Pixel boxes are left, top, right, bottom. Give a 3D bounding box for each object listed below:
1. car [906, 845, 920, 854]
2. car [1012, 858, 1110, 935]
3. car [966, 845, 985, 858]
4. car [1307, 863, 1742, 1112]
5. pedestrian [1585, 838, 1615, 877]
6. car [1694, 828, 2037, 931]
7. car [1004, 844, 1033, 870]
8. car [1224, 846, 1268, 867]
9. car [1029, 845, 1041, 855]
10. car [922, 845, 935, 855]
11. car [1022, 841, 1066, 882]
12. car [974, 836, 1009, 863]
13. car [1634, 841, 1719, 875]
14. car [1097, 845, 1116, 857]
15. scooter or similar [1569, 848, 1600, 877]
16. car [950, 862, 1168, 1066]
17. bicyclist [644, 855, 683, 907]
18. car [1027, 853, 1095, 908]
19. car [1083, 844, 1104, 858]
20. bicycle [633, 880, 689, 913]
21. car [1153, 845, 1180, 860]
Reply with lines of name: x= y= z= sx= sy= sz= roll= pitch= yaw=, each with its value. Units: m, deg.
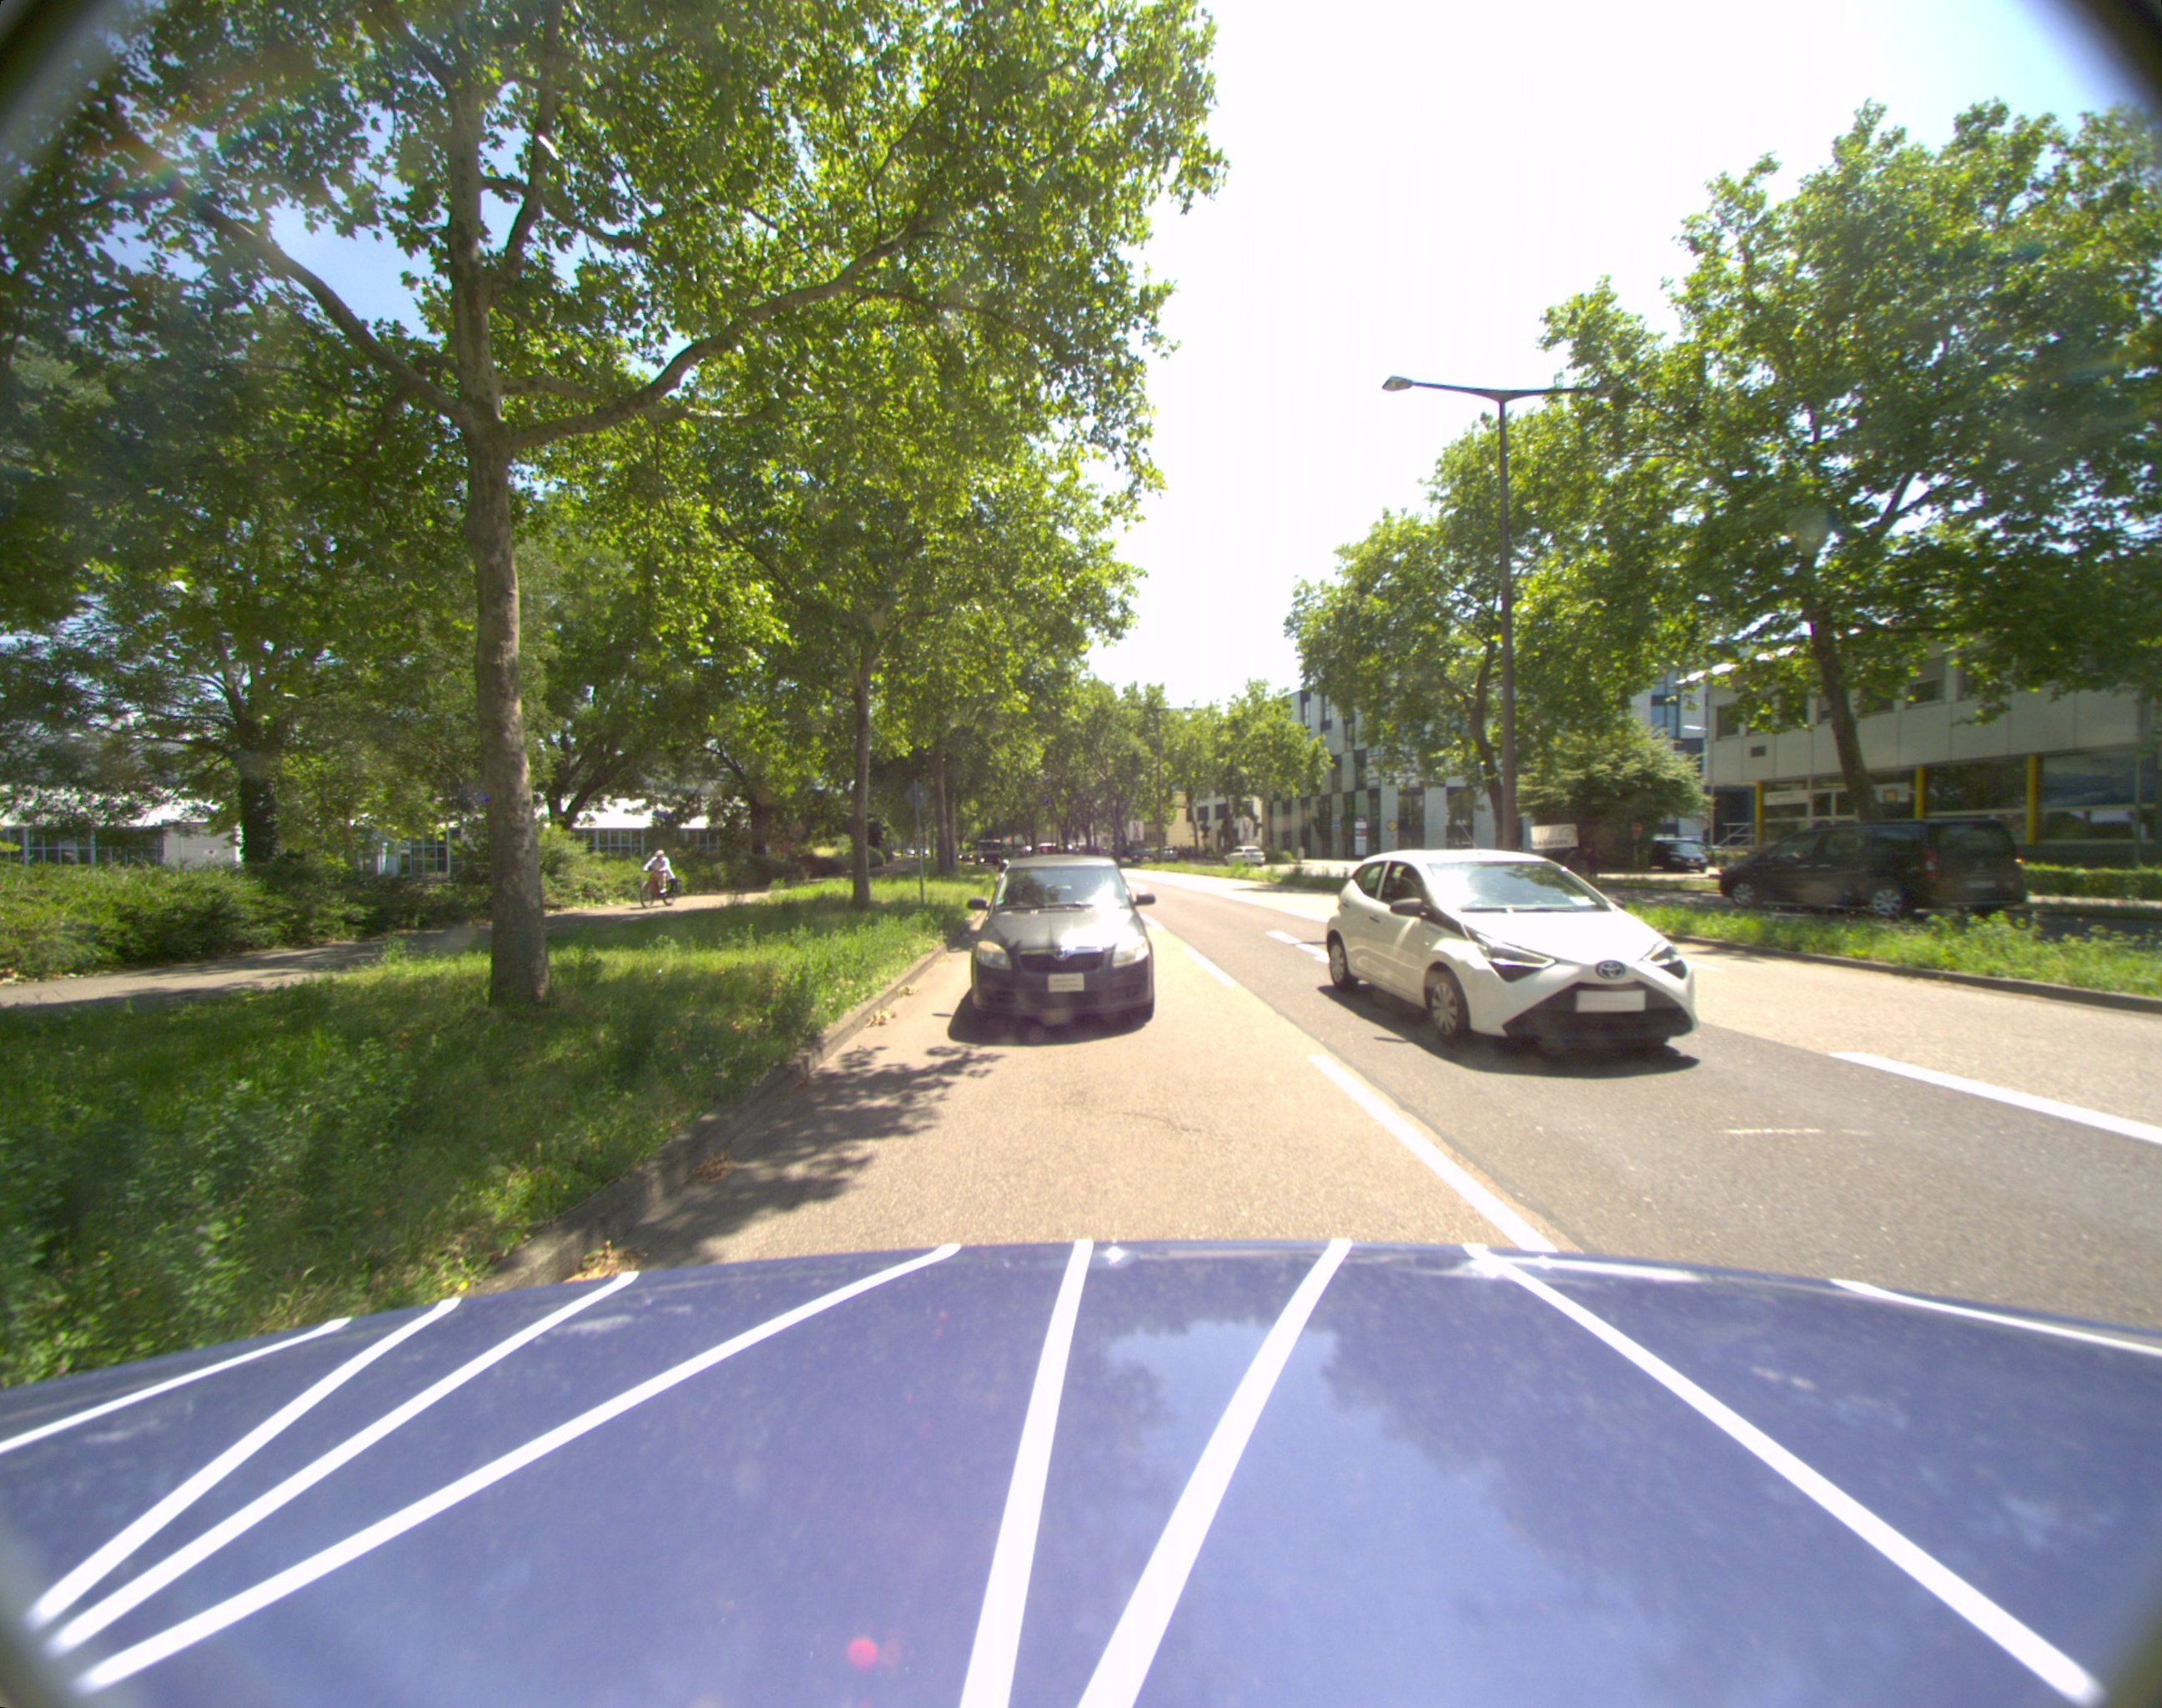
car: x=-35.661 y=-0.917 z=161.422 sx=2.003 sy=1.827 sz=3.991 roll=-1 pitch=1 yaw=-26
car: x=-0.413 y=0.805 z=16.053 sx=1.791 sy=1.325 sz=3.742 roll=-1 pitch=1 yaw=-1
car: x=-14.055 y=-0.352 z=101.112 sx=2.001 sy=1.608 sz=3.994 roll=-1 pitch=1 yaw=-15
car: x=3.375 y=0.871 z=6.661 sx=1.623 sy=1.437 sz=3.651 roll=-2 pitch=1 yaw=-1
pedestrian: x=21.027 y=0.140 z=30.798 sx=0.644 sy=1.551 sz=0.790 roll=0 pitch=1 yaw=-7
car: x=14.776 y=0.400 z=14.779 sx=1.917 sy=1.669 sz=4.441 roll=-1 pitch=1 yaw=-5
car: x=-4.468 y=0.202 z=54.682 sx=1.999 sy=1.783 sz=3.998 roll=0 pitch=1 yaw=-3
car: x=11.770 y=0.161 z=54.595 sx=1.859 sy=1.410 sz=4.545 roll=0 pitch=1 yaw=-5
car: x=-7.391 y=-0.690 z=122.087 sx=1.537 sy=1.519 sz=2.852 roll=-1 pitch=1 yaw=-8
car: x=-30.174 y=-0.825 z=149.839 sx=2.002 sy=1.827 sz=3.993 roll=-1 pitch=1 yaw=-19
car: x=-1.831 y=0.354 z=37.073 sx=1.999 sy=1.871 sz=3.998 roll=-1 pitch=1 yaw=-3
car: x=-9.409 y=-0.515 z=79.129 sx=2.921 sy=2.639 sz=6.358 roll=-1 pitch=1 yaw=-13
car: x=31.600 y=0.167 z=40.464 sx=1.820 sy=1.638 sz=3.527 roll=-2 pitch=1 yaw=2
car: x=3.332 y=-0.408 z=100.998 sx=1.757 sy=1.435 sz=3.668 roll=0 pitch=1 yaw=-12
scooter or similar: x=20.931 y=0.345 z=31.619 sx=0.680 sy=1.157 sz=0.858 roll=0 pitch=1 yaw=-7
car: x=-0.201 y=0.870 z=7.801 sx=1.654 sy=1.454 sz=3.864 roll=-1 pitch=1 yaw=-1
bicyclist: x=-10.870 y=0.696 z=19.796 sx=0.600 sy=1.331 sz=0.666 roll=0 pitch=1 yaw=2
car: x=-0.600 y=0.748 z=23.144 sx=1.878 sy=1.448 sz=3.785 roll=-1 pitch=1 yaw=-1
car: x=1.503 y=-0.429 z=93.192 sx=1.955 sy=1.646 sz=4.617 roll=0 pitch=1 yaw=-7
bicycle: x=-10.870 y=1.082 z=19.719 sx=0.465 sy=0.760 sz=1.668 roll=0 pitch=0 yaw=2
car: x=8.526 y=-0.210 z=75.937 sx=1.737 sy=1.451 sz=3.670 roll=-1 pitch=1 yaw=-8
